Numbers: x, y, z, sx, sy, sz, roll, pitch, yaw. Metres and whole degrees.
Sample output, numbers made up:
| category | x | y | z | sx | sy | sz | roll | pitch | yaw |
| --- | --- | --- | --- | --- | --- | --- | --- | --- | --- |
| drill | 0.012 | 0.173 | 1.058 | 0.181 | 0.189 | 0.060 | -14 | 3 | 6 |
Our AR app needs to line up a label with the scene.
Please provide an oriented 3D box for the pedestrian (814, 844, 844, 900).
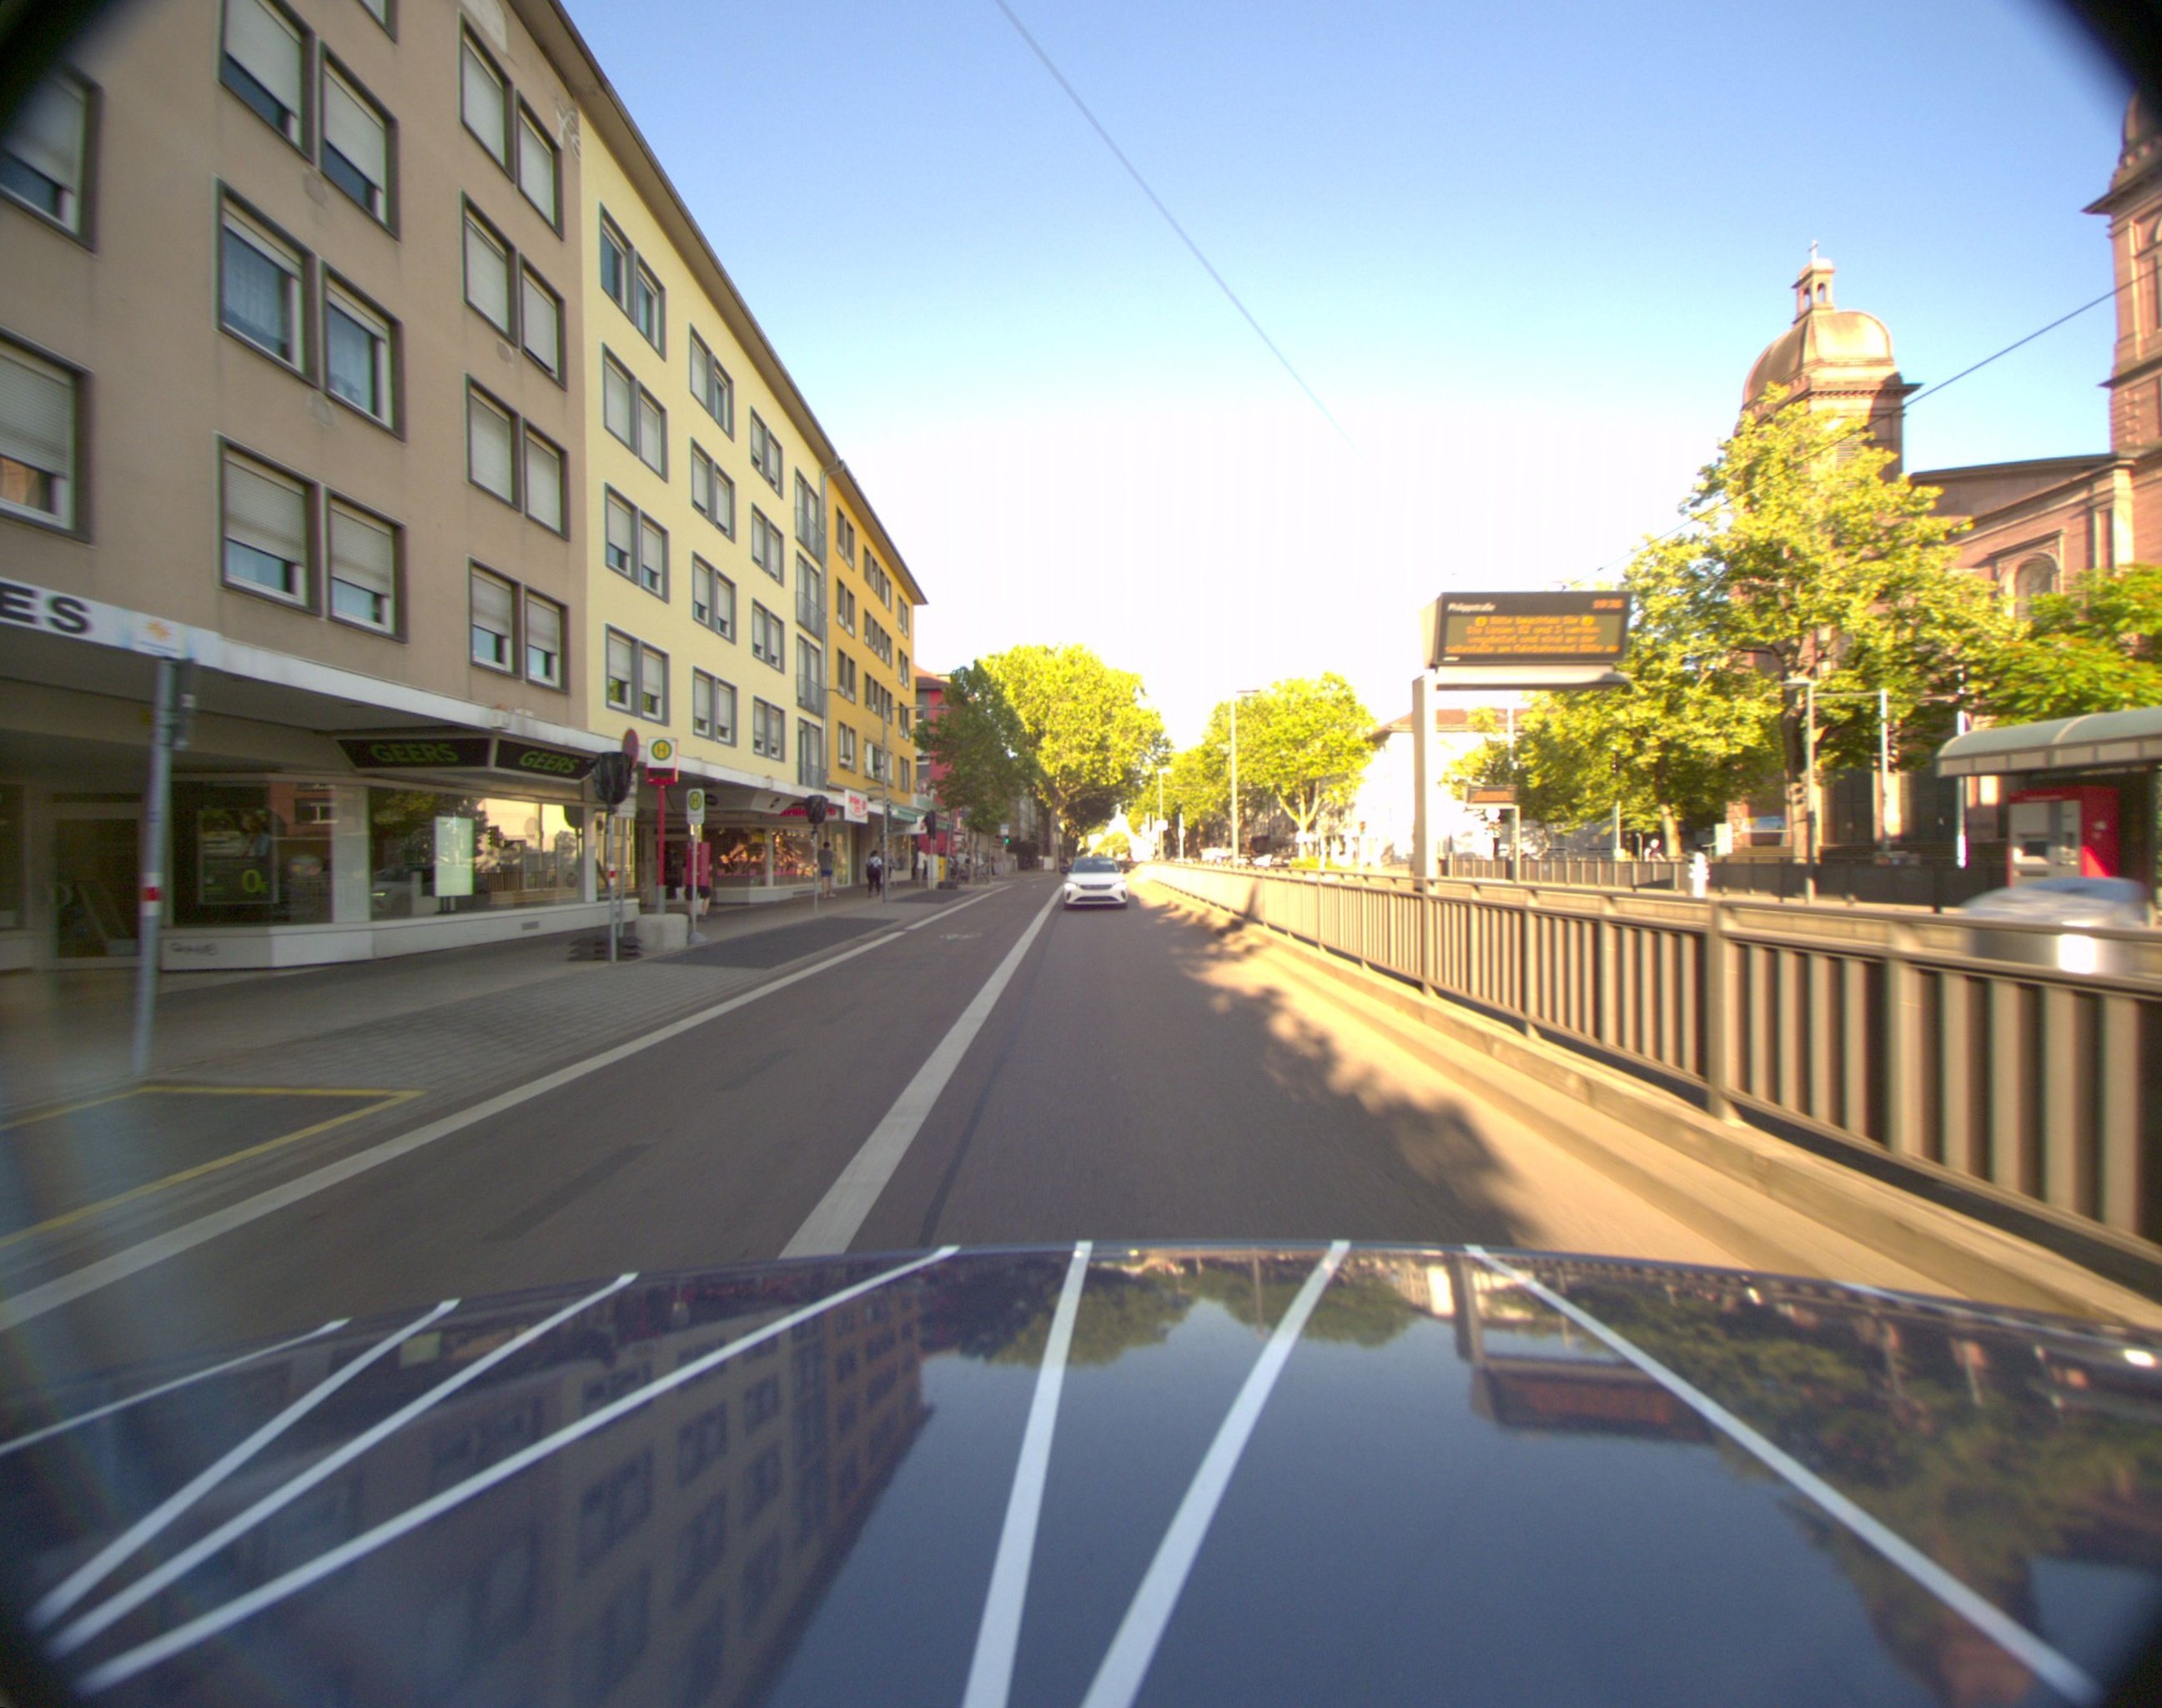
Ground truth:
| category | x | y | z | sx | sy | sz | roll | pitch | yaw |
| --- | --- | --- | --- | --- | --- | --- | --- | --- | --- |
| pedestrian | -8.328 | 0.585 | 25.129 | 0.725 | 1.829 | 0.766 | 0 | 1 | 1 |

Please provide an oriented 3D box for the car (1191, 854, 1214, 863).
| category | x | y | z | sx | sy | sz | roll | pitch | yaw |
| --- | --- | --- | --- | --- | --- | --- | --- | --- | --- |
| car | 22.914 | 0.843 | 143.171 | 4.005 | 1.805 | 1.996 | 0 | 0 | -26 |

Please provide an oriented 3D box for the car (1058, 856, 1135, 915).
| category | x | y | z | sx | sy | sz | roll | pitch | yaw |
| --- | --- | --- | --- | --- | --- | --- | --- | --- | --- |
| car | 0.384 | 0.781 | 20.787 | 1.865 | 1.394 | 3.932 | -1 | 0 | 0 |

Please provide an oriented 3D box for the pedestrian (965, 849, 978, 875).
| category | x | y | z | sx | sy | sz | roll | pitch | yaw |
| --- | --- | --- | --- | --- | --- | --- | --- | --- | --- |
| pedestrian | -7.510 | 0.558 | 52.074 | 0.745 | 1.769 | 0.894 | 0 | 1 | 1 |

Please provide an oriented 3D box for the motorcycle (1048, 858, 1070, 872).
| category | x | y | z | sx | sy | sz | roll | pitch | yaw |
| --- | --- | --- | --- | --- | --- | --- | --- | --- | --- |
| motorcycle | -1.937 | 0.975 | 66.596 | 1.895 | 1.104 | 0.783 | 3 | -2 | -42 |

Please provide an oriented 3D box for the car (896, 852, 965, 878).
| category | x | y | z | sx | sy | sz | roll | pitch | yaw |
| --- | --- | --- | --- | --- | --- | --- | --- | --- | --- |
| car | -10.315 | 0.732 | 52.295 | 4.352 | 1.677 | 1.772 | -1 | 1 | 0 |

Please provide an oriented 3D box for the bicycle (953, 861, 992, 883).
| category | x | y | z | sx | sy | sz | roll | pitch | yaw |
| --- | --- | --- | --- | --- | --- | --- | --- | --- | --- |
| bicycle | -5.302 | 0.895 | 37.045 | 1.803 | 1.002 | 0.541 | 2 | 1 | -2 |

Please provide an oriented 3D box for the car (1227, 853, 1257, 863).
| category | x | y | z | sx | sy | sz | roll | pitch | yaw |
| --- | --- | --- | --- | --- | --- | --- | --- | --- | --- |
| car | 22.837 | 0.549 | 107.816 | 4.265 | 1.451 | 1.598 | 0 | 0 | -35 |

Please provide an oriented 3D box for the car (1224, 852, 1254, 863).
| category | x | y | z | sx | sy | sz | roll | pitch | yaw |
| --- | --- | --- | --- | --- | --- | --- | --- | --- | --- |
| car | 23.109 | 0.497 | 111.090 | 4.265 | 1.449 | 1.902 | 0 | 0 | -35 |

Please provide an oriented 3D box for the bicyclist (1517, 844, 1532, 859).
| category | x | y | z | sx | sy | sz | roll | pitch | yaw |
| --- | --- | --- | --- | --- | --- | --- | --- | --- | --- |
| bicyclist | 38.583 | -0.238 | 66.058 | 0.968 | 1.323 | 0.633 | 0 | 0 | 2 |

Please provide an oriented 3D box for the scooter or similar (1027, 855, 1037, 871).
| category | x | y | z | sx | sy | sz | roll | pitch | yaw |
| --- | --- | --- | --- | --- | --- | --- | --- | --- | --- |
| scooter or similar | -4.671 | 0.849 | 72.705 | 0.666 | 1.461 | 2.545 | 0 | 0 | 1 |

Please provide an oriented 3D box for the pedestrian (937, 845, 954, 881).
| category | x | y | z | sx | sy | sz | roll | pitch | yaw |
| --- | --- | --- | --- | --- | --- | --- | --- | --- | --- |
| pedestrian | -6.914 | 0.443 | 38.695 | 0.725 | 1.796 | 0.766 | 0 | 1 | 1 |

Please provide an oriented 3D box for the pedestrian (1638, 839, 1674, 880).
| category | x | y | z | sx | sy | sz | roll | pitch | yaw |
| --- | --- | --- | --- | --- | --- | --- | --- | --- | --- |
| pedestrian | 24.962 | 0.245 | 33.019 | 0.921 | 1.750 | 0.832 | -1 | 2 | 2 |

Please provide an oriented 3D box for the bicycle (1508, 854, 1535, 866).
| category | x | y | z | sx | sy | sz | roll | pitch | yaw |
| --- | --- | --- | --- | --- | --- | --- | --- | --- | --- |
| bicycle | 38.261 | 0.509 | 66.060 | 1.987 | 0.974 | 0.633 | 0 | 0 | 1 |

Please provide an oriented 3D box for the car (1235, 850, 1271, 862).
| category | x | y | z | sx | sy | sz | roll | pitch | yaw |
| --- | --- | --- | --- | --- | --- | --- | --- | --- | --- |
| car | 21.880 | 0.257 | 96.783 | 4.260 | 1.548 | 1.641 | 0 | 0 | -14 |

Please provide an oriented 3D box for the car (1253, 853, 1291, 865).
| category | x | y | z | sx | sy | sz | roll | pitch | yaw |
| --- | --- | --- | --- | --- | --- | --- | --- | --- | --- |
| car | 22.262 | 0.561 | 88.624 | 4.266 | 1.369 | 2.147 | 0 | 0 | -40 |

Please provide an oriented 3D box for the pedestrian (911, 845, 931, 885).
| category | x | y | z | sx | sy | sz | roll | pitch | yaw |
| --- | --- | --- | --- | --- | --- | --- | --- | --- | --- |
| pedestrian | -7.092 | 0.466 | 33.728 | 0.725 | 1.769 | 0.766 | 0 | 1 | 1 |

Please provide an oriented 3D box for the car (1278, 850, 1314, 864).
| category | x | y | z | sx | sy | sz | roll | pitch | yaw |
| --- | --- | --- | --- | --- | --- | --- | --- | --- | --- |
| car | 22.528 | 0.310 | 79.515 | 3.979 | 1.423 | 1.767 | 0 | 0 | -42 |

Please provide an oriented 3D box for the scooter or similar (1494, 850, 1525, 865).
| category | x | y | z | sx | sy | sz | roll | pitch | yaw |
| --- | --- | --- | --- | --- | --- | --- | --- | --- | --- |
| scooter or similar | 33.443 | 0.234 | 59.315 | 1.096 | 1.120 | 2.448 | -1 | 0 | 1 |

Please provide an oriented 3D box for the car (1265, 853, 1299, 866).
| category | x | y | z | sx | sy | sz | roll | pitch | yaw |
| --- | --- | --- | --- | --- | --- | --- | --- | --- | --- |
| car | 22.801 | 0.605 | 86.008 | 3.979 | 1.495 | 1.827 | 0 | 0 | -42 |

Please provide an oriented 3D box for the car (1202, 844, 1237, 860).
| category | x | y | z | sx | sy | sz | roll | pitch | yaw |
| --- | --- | --- | --- | --- | --- | --- | --- | --- | --- |
| car | 23.265 | -0.287 | 127.713 | 5.619 | 2.684 | 2.176 | 0 | 0 | -23 |

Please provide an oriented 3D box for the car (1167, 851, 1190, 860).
| category | x | y | z | sx | sy | sz | roll | pitch | yaw |
| --- | --- | --- | --- | --- | --- | --- | --- | --- | --- |
| car | 19.723 | 0.333 | 154.152 | 4.234 | 1.696 | 1.999 | 0 | 0 | -3 |

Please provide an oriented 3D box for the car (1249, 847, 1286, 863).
| category | x | y | z | sx | sy | sz | roll | pitch | yaw |
| --- | --- | --- | --- | --- | --- | --- | --- | --- | --- |
| car | 23.317 | 0.147 | 95.146 | 4.260 | 1.932 | 1.514 | 0 | 0 | -14 |

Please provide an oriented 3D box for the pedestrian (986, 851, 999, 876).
| category | x | y | z | sx | sy | sz | roll | pitch | yaw |
| --- | --- | --- | --- | --- | --- | --- | --- | --- | --- |
| pedestrian | -6.112 | 0.658 | 52.574 | 0.728 | 1.701 | 0.816 | 2 | 1 | 1 |

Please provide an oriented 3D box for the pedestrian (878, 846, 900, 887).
| category | x | y | z | sx | sy | sz | roll | pitch | yaw |
| --- | --- | --- | --- | --- | --- | --- | --- | --- | --- |
| pedestrian | -8.115 | 0.503 | 32.170 | 0.725 | 1.713 | 0.766 | 0 | 1 | 1 |

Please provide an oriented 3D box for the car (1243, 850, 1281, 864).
| category | x | y | z | sx | sy | sz | roll | pitch | yaw |
| --- | --- | --- | --- | --- | --- | --- | --- | --- | --- |
| car | 21.907 | 0.334 | 91.867 | 4.265 | 1.674 | 2.147 | 0 | 0 | -34 |

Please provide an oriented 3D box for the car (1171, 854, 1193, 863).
| category | x | y | z | sx | sy | sz | roll | pitch | yaw |
| --- | --- | --- | --- | --- | --- | --- | --- | --- | --- |
| car | 20.619 | 0.889 | 154.483 | 4.005 | 1.696 | 1.996 | 0 | 0 | -26 |

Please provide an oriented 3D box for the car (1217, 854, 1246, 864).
| category | x | y | z | sx | sy | sz | roll | pitch | yaw |
| --- | --- | --- | --- | --- | --- | --- | --- | --- | --- |
| car | 22.829 | 0.785 | 115.292 | 4.004 | 1.509 | 1.997 | 0 | 0 | -19 |

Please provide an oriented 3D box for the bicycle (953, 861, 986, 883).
| category | x | y | z | sx | sy | sz | roll | pitch | yaw |
| --- | --- | --- | --- | --- | --- | --- | --- | --- | --- |
| bicycle | -5.337 | 0.856 | 36.423 | 1.487 | 1.002 | 0.454 | -1 | 1 | -2 |

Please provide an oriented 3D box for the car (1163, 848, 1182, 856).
| category | x | y | z | sx | sy | sz | roll | pitch | yaw |
| --- | --- | --- | --- | --- | --- | --- | --- | --- | --- |
| car | 24.052 | -0.571 | 199.472 | 4.952 | 2.200 | 2.096 | 0 | 0 | -41 |

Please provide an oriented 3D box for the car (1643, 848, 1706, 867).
| category | x | y | z | sx | sy | sz | roll | pitch | yaw |
| --- | --- | --- | --- | --- | --- | --- | --- | --- | --- |
| car | 46.236 | 0.279 | 59.274 | 1.815 | 1.389 | 4.001 | 0 | -1 | 1 |

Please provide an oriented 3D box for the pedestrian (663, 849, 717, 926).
| category | x | y | z | sx | sy | sz | roll | pitch | yaw |
| --- | --- | --- | --- | --- | --- | --- | --- | --- | --- |
| pedestrian | -8.345 | 0.700 | 16.250 | 0.725 | 1.623 | 0.766 | 0 | 1 | 1 |

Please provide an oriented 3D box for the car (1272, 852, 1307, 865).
| category | x | y | z | sx | sy | sz | roll | pitch | yaw |
| --- | --- | --- | --- | --- | --- | --- | --- | --- | --- |
| car | 22.693 | 0.484 | 82.730 | 3.979 | 1.423 | 1.738 | 0 | -1 | -42 |

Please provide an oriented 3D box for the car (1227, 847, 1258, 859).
| category | x | y | z | sx | sy | sz | roll | pitch | yaw |
| --- | --- | --- | --- | --- | --- | --- | --- | --- | --- |
| car | 22.025 | -0.119 | 103.527 | 4.266 | 1.605 | 1.902 | -1 | 1 | -41 |

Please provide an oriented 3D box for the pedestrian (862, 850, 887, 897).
| category | x | y | z | sx | sy | sz | roll | pitch | yaw |
| --- | --- | --- | --- | --- | --- | --- | --- | --- | --- |
| pedestrian | -7.047 | 0.665 | 25.947 | 0.612 | 1.569 | 0.851 | 0 | 1 | 0 |

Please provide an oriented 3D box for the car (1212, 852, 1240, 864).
| category | x | y | z | sx | sy | sz | roll | pitch | yaw |
| --- | --- | --- | --- | --- | --- | --- | --- | --- | --- |
| car | 23.719 | 0.580 | 124.559 | 4.006 | 1.805 | 1.995 | 2 | 1 | -26 |
